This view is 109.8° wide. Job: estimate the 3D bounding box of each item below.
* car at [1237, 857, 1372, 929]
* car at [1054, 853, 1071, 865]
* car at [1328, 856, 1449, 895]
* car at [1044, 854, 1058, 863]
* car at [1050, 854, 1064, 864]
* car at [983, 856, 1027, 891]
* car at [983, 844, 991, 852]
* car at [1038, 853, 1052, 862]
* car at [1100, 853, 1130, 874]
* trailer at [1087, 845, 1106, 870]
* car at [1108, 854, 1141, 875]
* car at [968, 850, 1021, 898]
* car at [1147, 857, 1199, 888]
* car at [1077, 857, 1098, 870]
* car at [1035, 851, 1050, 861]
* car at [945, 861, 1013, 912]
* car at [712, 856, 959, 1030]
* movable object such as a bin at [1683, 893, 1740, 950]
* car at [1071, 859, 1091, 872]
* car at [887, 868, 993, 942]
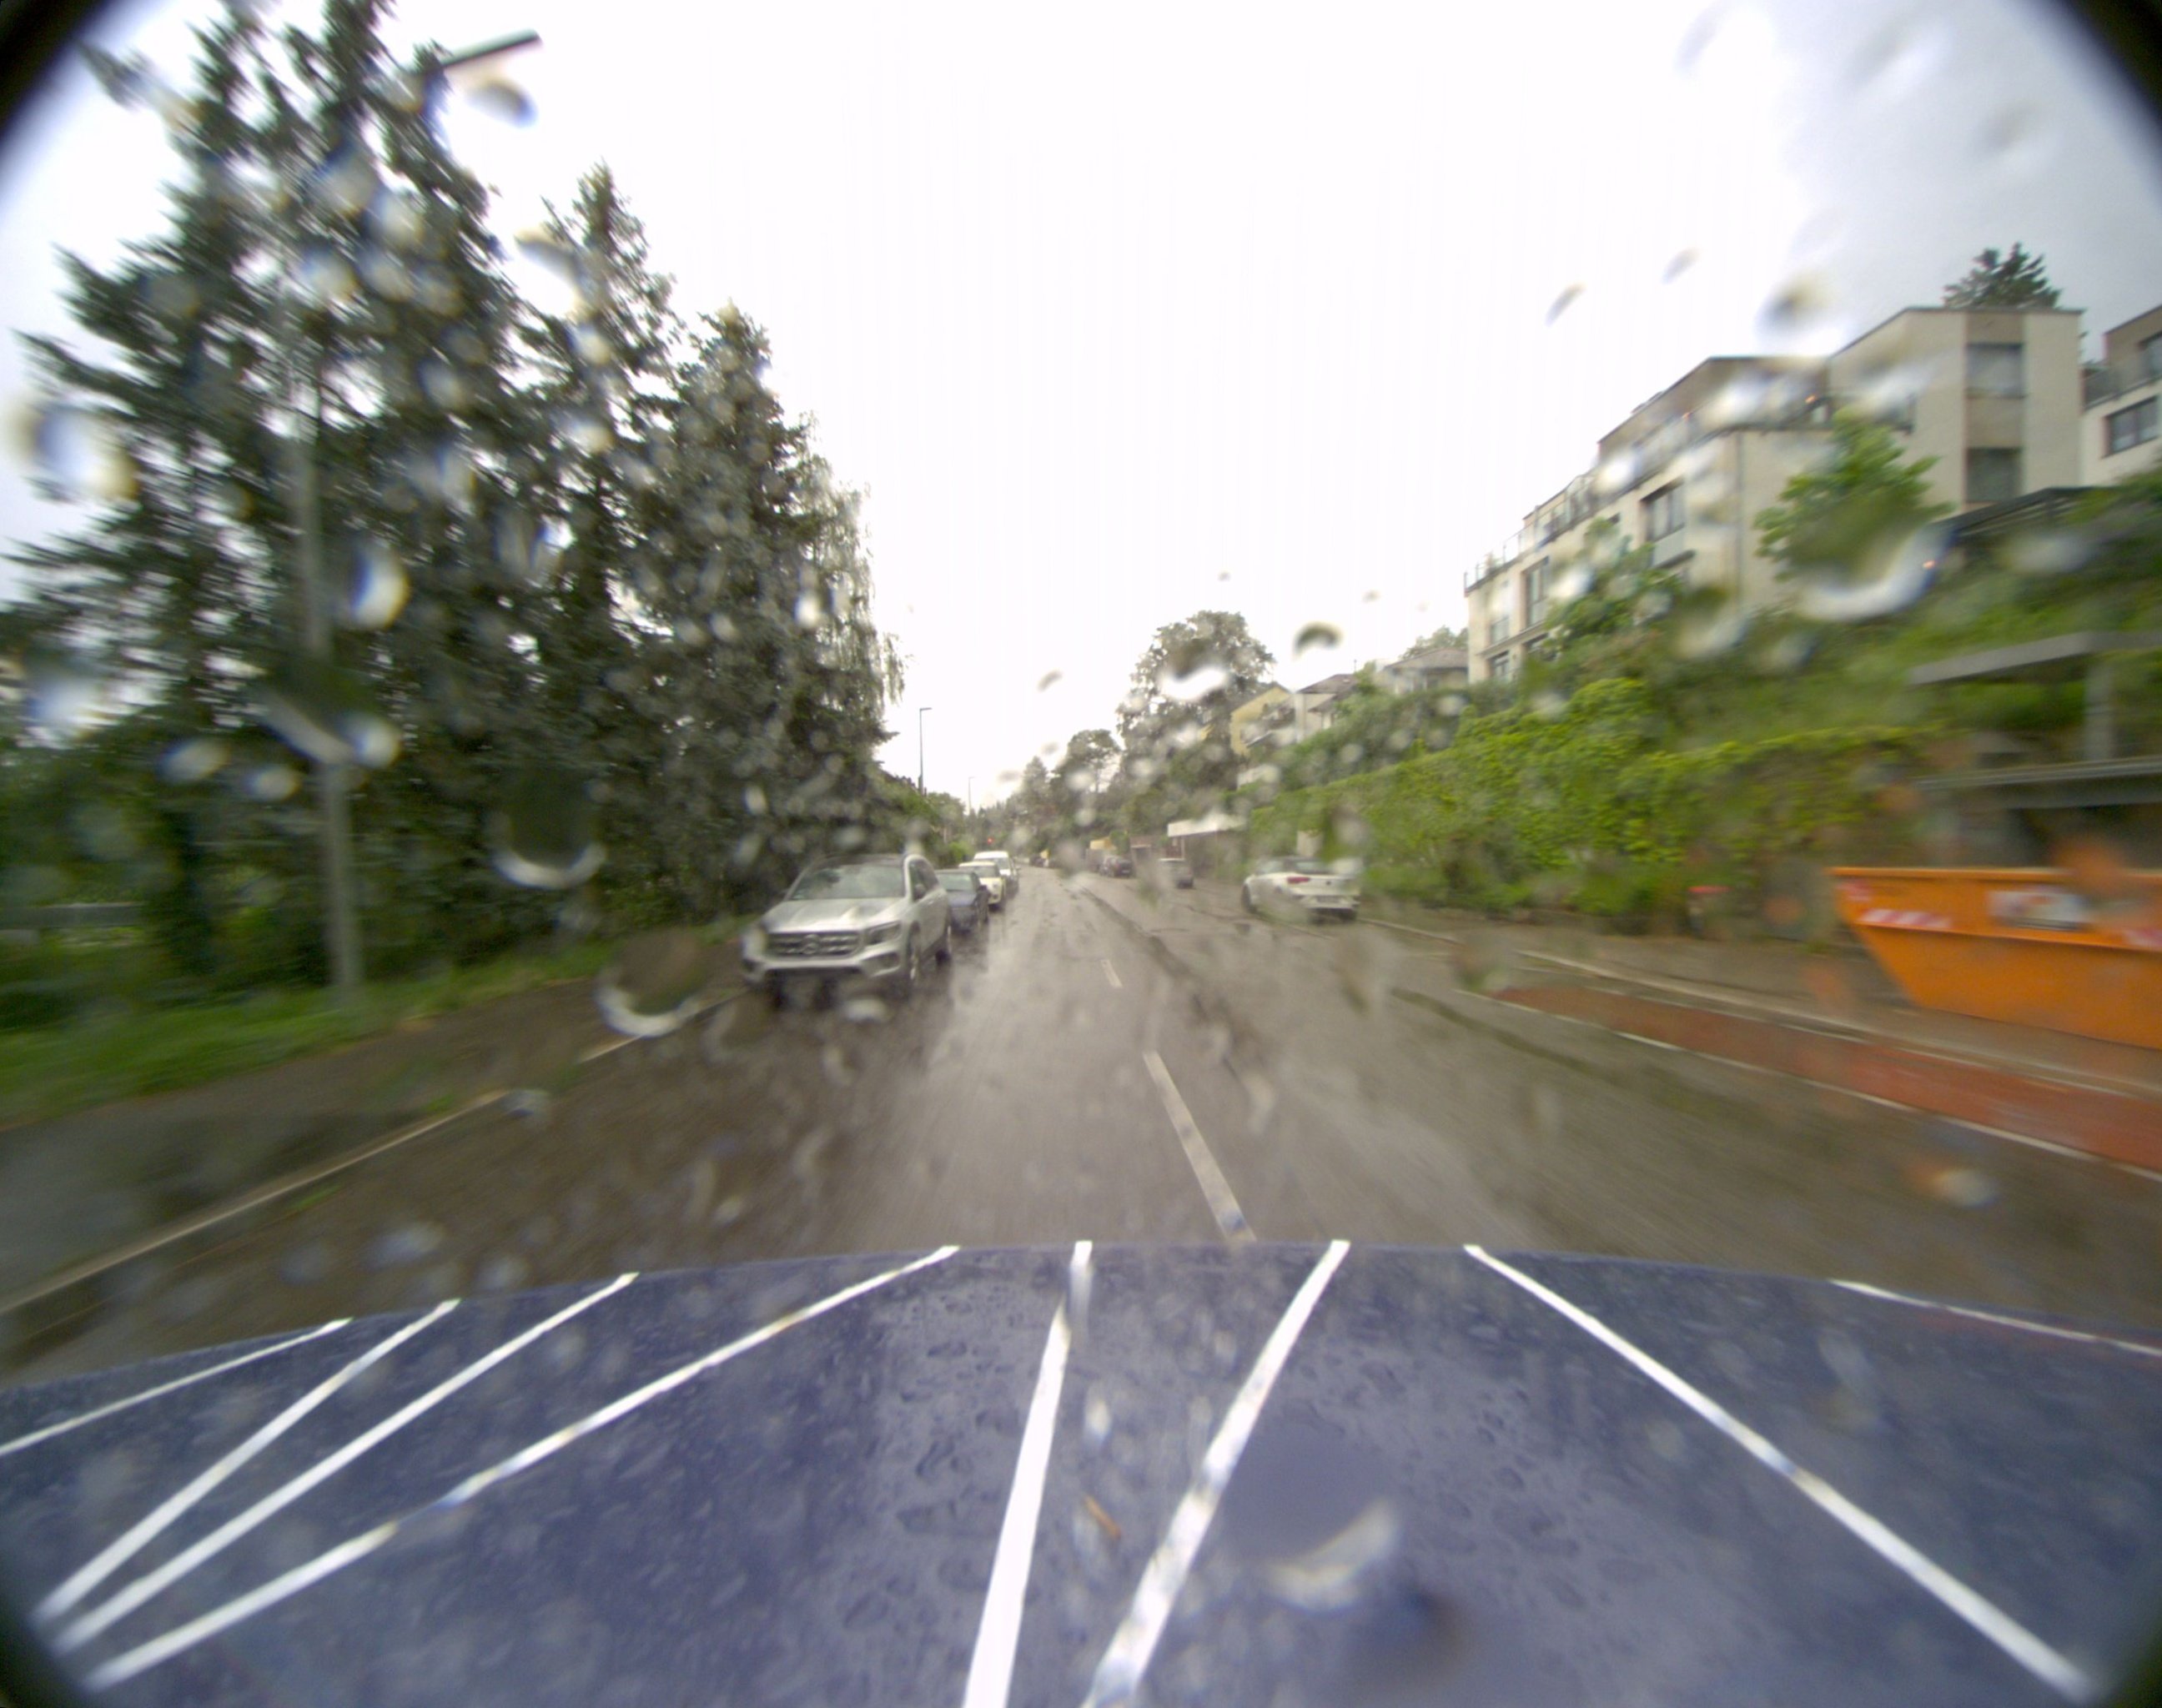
[{"bbox_3d":[5.270,0.854,18.516,1.761,1.489,4.218,0,0,-5],"label":"car"},{"bbox_3d":[-2.757,0.696,109.808,1.880,1.616,4.590,2,-1,-8],"label":"car"},{"bbox_3d":[11.504,0.801,28.585,3.767,1.376,1.866,-1,0,-1],"label":"car"},{"bbox_3d":[-4.794,0.798,120.695,1.722,1.357,4.079,1,-1,-11],"label":"car"},{"bbox_3d":[-3.753,0.767,116.100,1.747,1.552,4.106,1,0,-7],"label":"car"},{"bbox_3d":[-3.579,0.887,36.385,1.794,1.451,4.307,-1,1,-2],"label":"car"},{"bbox_3d":[-29.661,-1.884,239.903,2.087,2.464,4.847,2,0,-14],"label":"car"},{"bbox_3d":[-6.221,0.662,131.766,1.915,1.472,4.751,2,0,-8],"label":"car"},{"bbox_3d":[2.668,0.754,60.369,1.761,1.530,3.754,2,-1,-6],"label":"car"},{"bbox_3d":[1.521,0.375,75.268,1.541,2.385,3.071,1,0,-3],"label":"trailer"},{"bbox_3d":[3.118,0.756,55.007,1.761,1.401,3.703,2,-1,-6],"label":"car"},{"bbox_3d":[-3.478,0.768,31.396,1.789,1.780,4.360,-1,1,-2],"label":"car"},{"bbox_3d":[4.499,0.867,37.708,1.761,1.394,3.768,2,0,-5],"label":"car"},{"bbox_3d":[0.651,0.997,80.589,1.814,1.341,3.773,0,0,-7],"label":"car"},{"bbox_3d":[-7.232,0.365,142.196,2.166,1.908,5.318,0,0,-10],"label":"car"},{"bbox_3d":[-3.181,0.958,24.334,1.714,1.395,4.202,-1,1,-2],"label":"car"},{"bbox_3d":[-2.782,0.893,9.744,1.820,1.636,4.394,-1,1,-2],"label":"car"},{"bbox_3d":[9.869,1.045,11.908,0.399,0.816,0.549,-1,4,-3],"label":"movable object such as a bin"},{"bbox_3d":[-0.038,1.291,87.418,1.791,1.406,4.215,0,-1,-7],"label":"car"},{"bbox_3d":[-2.985,1.037,16.935,1.635,1.274,4.446,-1,0,-2],"label":"car"}]
